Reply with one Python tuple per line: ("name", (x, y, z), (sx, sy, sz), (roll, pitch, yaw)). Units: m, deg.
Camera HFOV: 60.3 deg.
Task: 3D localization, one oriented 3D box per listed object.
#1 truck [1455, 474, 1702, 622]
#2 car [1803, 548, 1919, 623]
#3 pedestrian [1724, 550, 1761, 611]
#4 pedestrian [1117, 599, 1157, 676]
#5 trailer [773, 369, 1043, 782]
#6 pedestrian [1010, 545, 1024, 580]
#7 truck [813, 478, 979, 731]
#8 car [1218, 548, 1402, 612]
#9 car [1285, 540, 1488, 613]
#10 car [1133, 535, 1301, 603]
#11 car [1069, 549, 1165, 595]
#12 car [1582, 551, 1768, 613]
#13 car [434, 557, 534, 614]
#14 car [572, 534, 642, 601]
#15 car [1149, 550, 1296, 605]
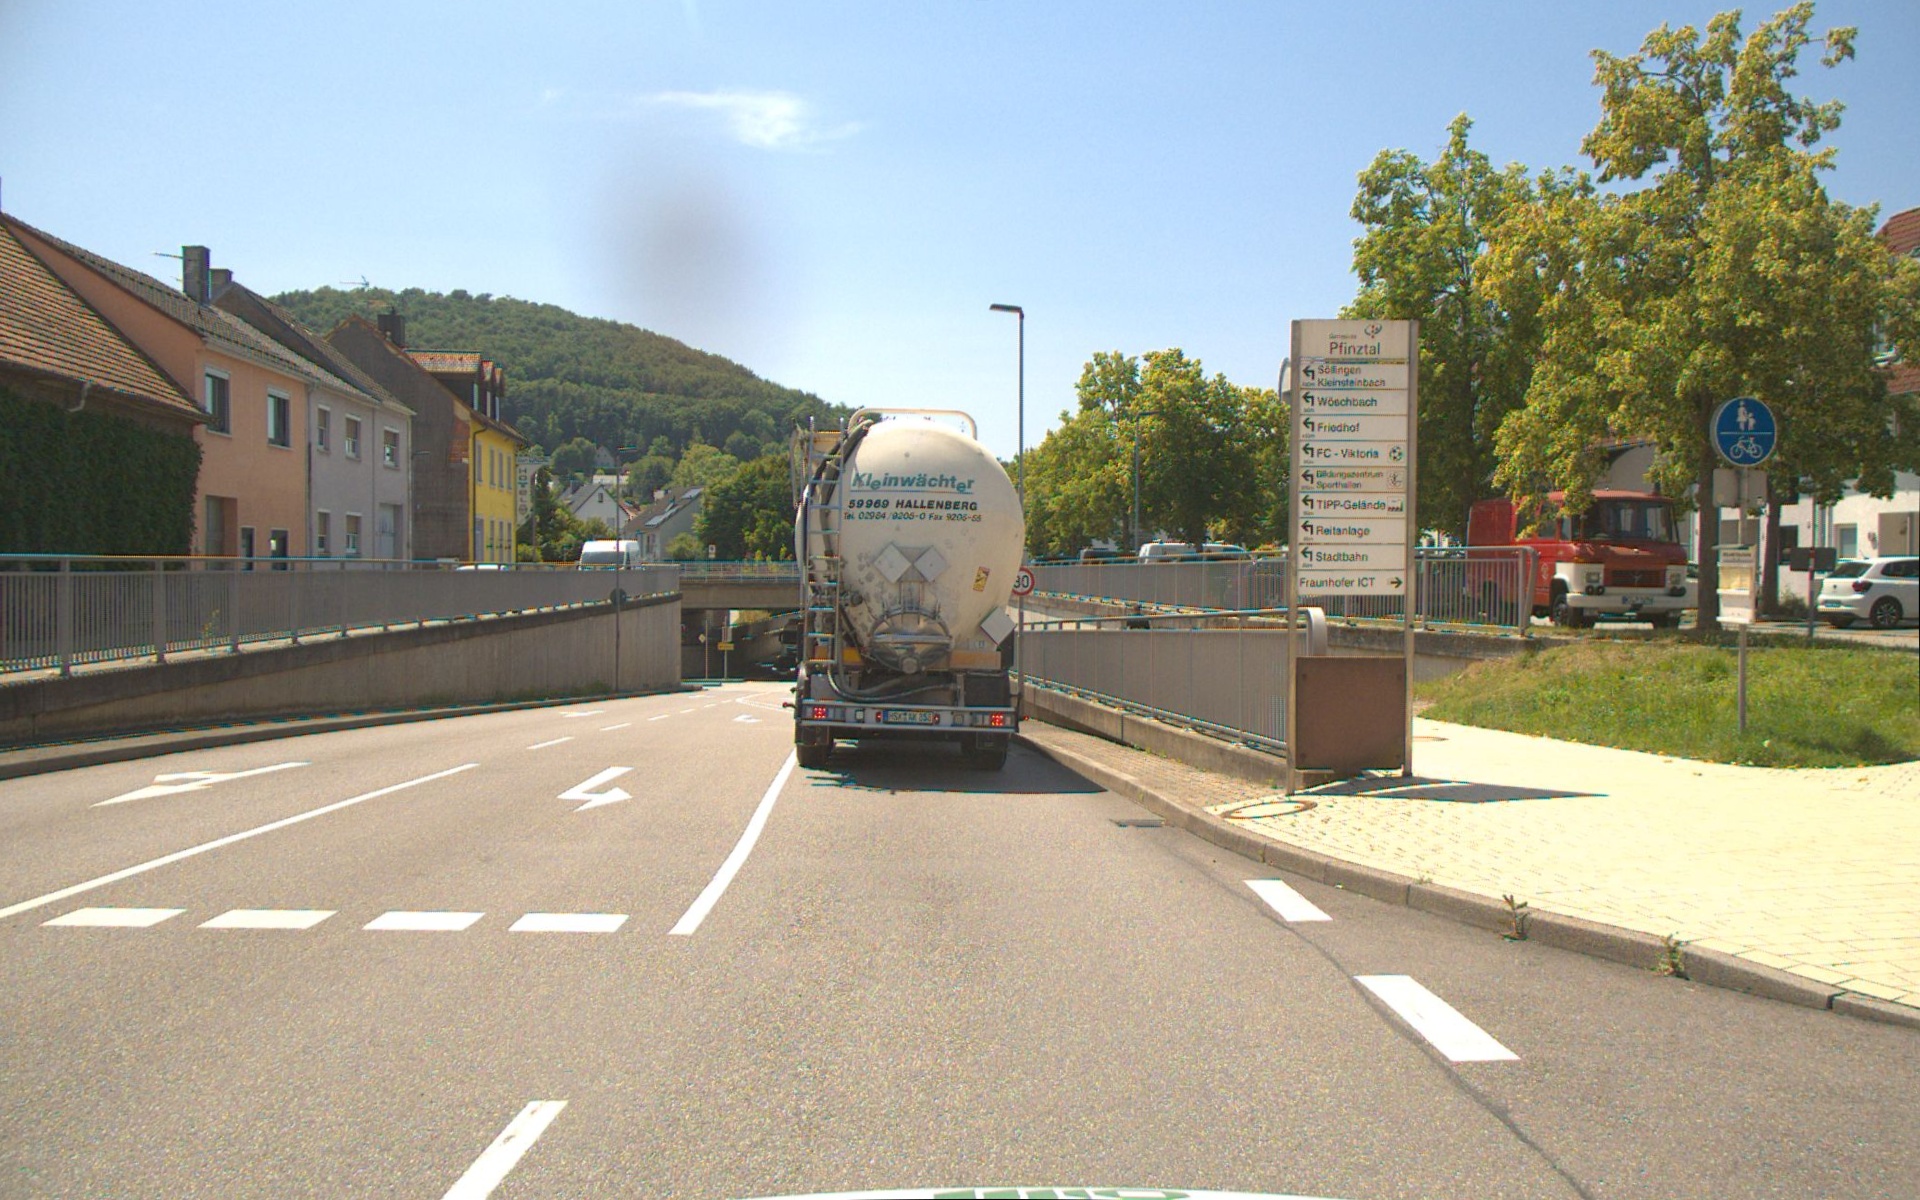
("truck", (10.749, -0.874, 29.249), (2.090, 2.375, 5.255), (0, 1, -4))
("car", (20.117, -0.347, 34.815), (3.859, 1.504, 1.756), (-2, 1, -4))
("pedestrian", (20.333, -0.510, 42.963), (0.735, 1.537, 0.605), (-3, 1, -41))
("pedestrian", (4.219, 0.886, 39.469), (0.819, 1.813, 0.788), (0, -2, -4))
("trailer", (-0.838, -0.041, 23.303), (2.680, 4.136, 13.303), (1, -2, -3))
("pedestrian", (2.902, -1.905, 84.621), (0.659, 1.810, 0.594), (0, 0, -2))
("truck", (-1.198, 0.174, 30.383), (2.680, 4.136, 6.524), (1, -2, -3))
("car", (8.508, -0.497, 40.427), (4.120, 1.524, 1.685), (0, 1, -3))
("car", (9.171, -0.502, 35.741), (3.907, 1.524, 1.748), (0, 1, -3))
("car", (8.137, -0.982, 52.731), (5.010, 2.099, 1.988), (0, 1, -3))
("car", (6.581, -1.175, 69.613), (3.827, 1.918, 1.685), (0, 1, -3))
("car", (19.419, -0.488, 45.009), (4.318, 1.515, 1.756), (-2, 1, -4))
("car", (-13.388, -0.430, 46.726), (1.777, 1.488, 4.307), (2, 1, -4))
("car", (-14.654, -1.342, 68.929), (2.025, 2.580, 5.657), (2, 1, -4))
("car", (7.893, -0.687, 49.952), (4.120, 1.624, 1.685), (0, 1, -3))
